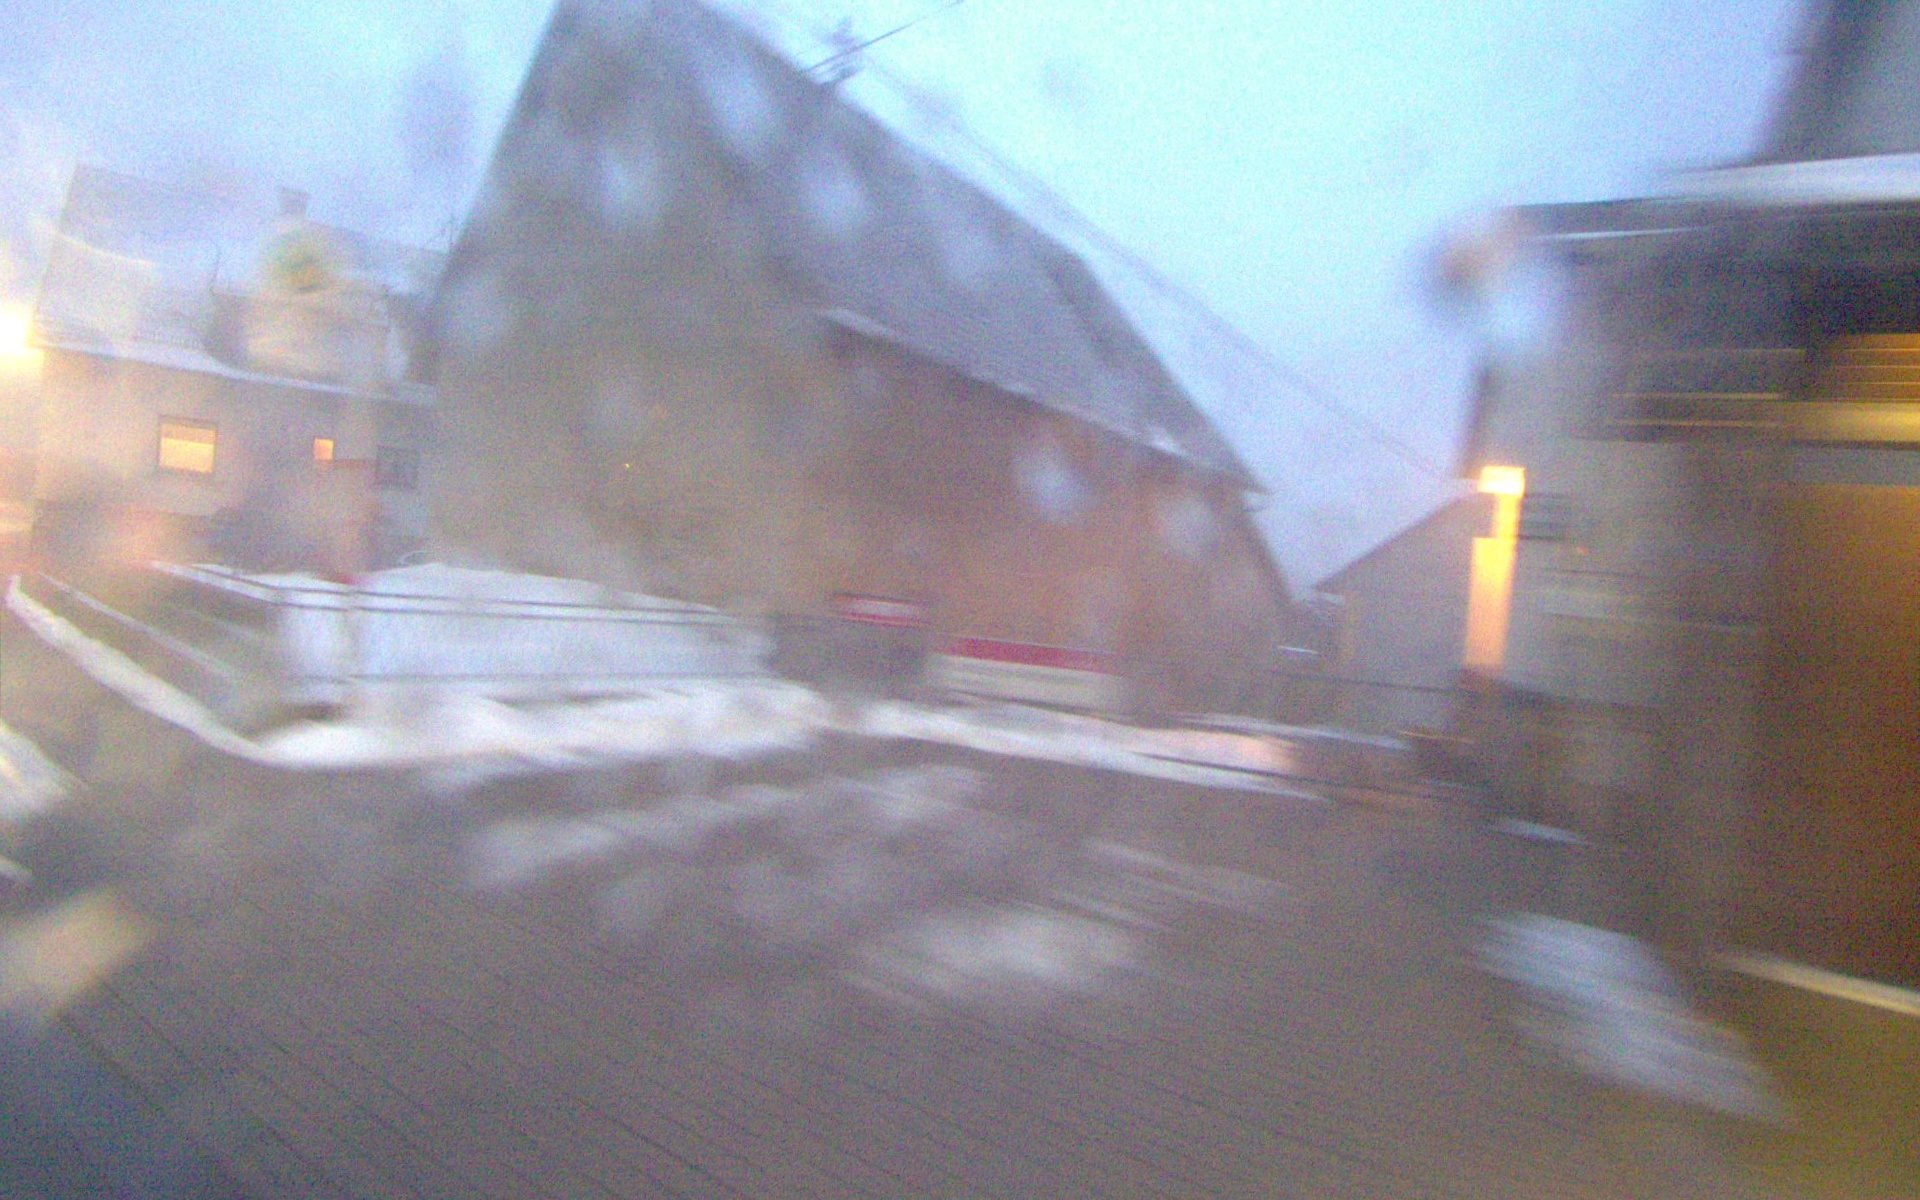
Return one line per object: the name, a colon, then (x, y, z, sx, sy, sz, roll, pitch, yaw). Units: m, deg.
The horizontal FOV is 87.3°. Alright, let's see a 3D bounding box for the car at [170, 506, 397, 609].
car: (-15.166, -0.918, 22.651, 3.972, 1.614, 1.890, 10, -2, -39)
